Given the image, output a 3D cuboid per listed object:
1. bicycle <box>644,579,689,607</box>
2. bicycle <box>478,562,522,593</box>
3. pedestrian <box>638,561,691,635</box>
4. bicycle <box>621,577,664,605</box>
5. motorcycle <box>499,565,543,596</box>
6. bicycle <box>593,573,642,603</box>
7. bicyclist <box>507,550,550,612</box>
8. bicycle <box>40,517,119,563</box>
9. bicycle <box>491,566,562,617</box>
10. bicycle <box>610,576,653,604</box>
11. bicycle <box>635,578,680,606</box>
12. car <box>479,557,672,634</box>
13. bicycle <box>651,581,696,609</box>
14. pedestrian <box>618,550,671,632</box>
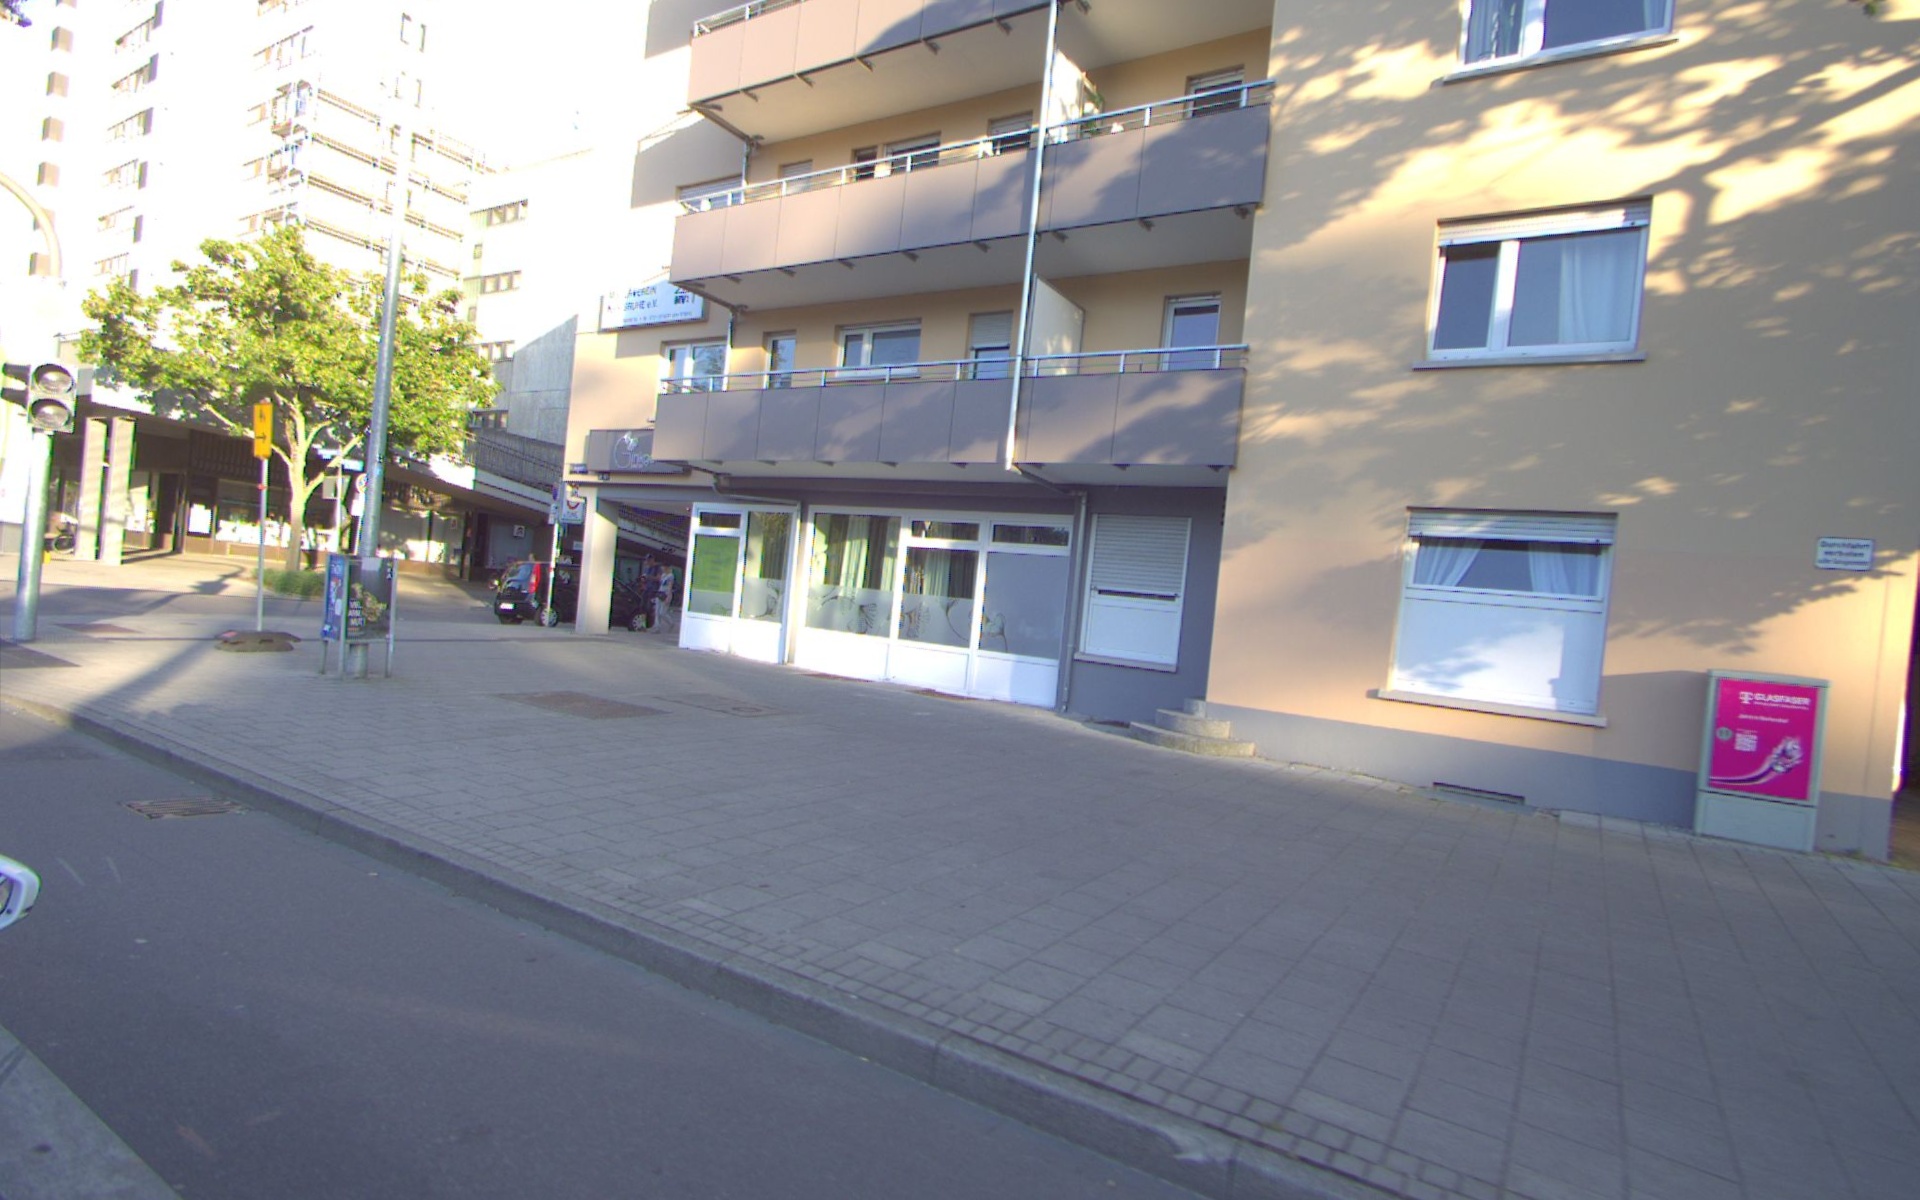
[{"bbox_3d":[-13.666,-0.319,46.795,1.940,1.086,0.583,6,-3,20],"label":"bicycle"},{"bbox_3d":[-18.642,-0.922,40.747,1.946,1.086,0.582,4,-3,34],"label":"bicycle"},{"bbox_3d":[-6.845,-0.038,23.288,0.637,1.606,0.836,6,0,30],"label":"pedestrian"},{"bbox_3d":[-14.476,-0.424,45.864,1.943,1.086,0.582,5,-3,28],"label":"bicycle"},{"bbox_3d":[-17.949,-0.812,41.110,1.847,1.086,0.646,5,-4,34],"label":"motorcycle"},{"bbox_3d":[-15.314,-0.528,45.003,1.939,1.086,0.584,6,-3,8],"label":"bicycle"},{"bbox_3d":[-12.745,-0.553,29.714,0.642,1.702,0.818,6,1,32],"label":"bicyclist"},{"bbox_3d":[-27.303,-1.849,31.210,1.984,1.162,0.692,6,-3,13],"label":"bicycle"},{"bbox_3d":[-12.780,-0.226,29.706,0.642,1.326,1.783,6,0,32],"label":"bicycle"},{"bbox_3d":[-14.836,-0.458,45.421,1.943,1.086,0.582,5,-3,28],"label":"bicycle"},{"bbox_3d":[-13.906,-0.380,46.224,1.942,1.086,0.583,5,-3,25],"label":"bicycle"},{"bbox_3d":[-9.094,-0.060,24.089,1.680,1.605,4.038,2,-1,36],"label":"car"},{"bbox_3d":[-13.497,-0.242,47.417,1.940,1.086,0.583,6,-3,20],"label":"bicycle"},{"bbox_3d":[-7.473,-0.215,23.856,0.639,1.851,0.833,6,1,41],"label":"pedestrian"}]
